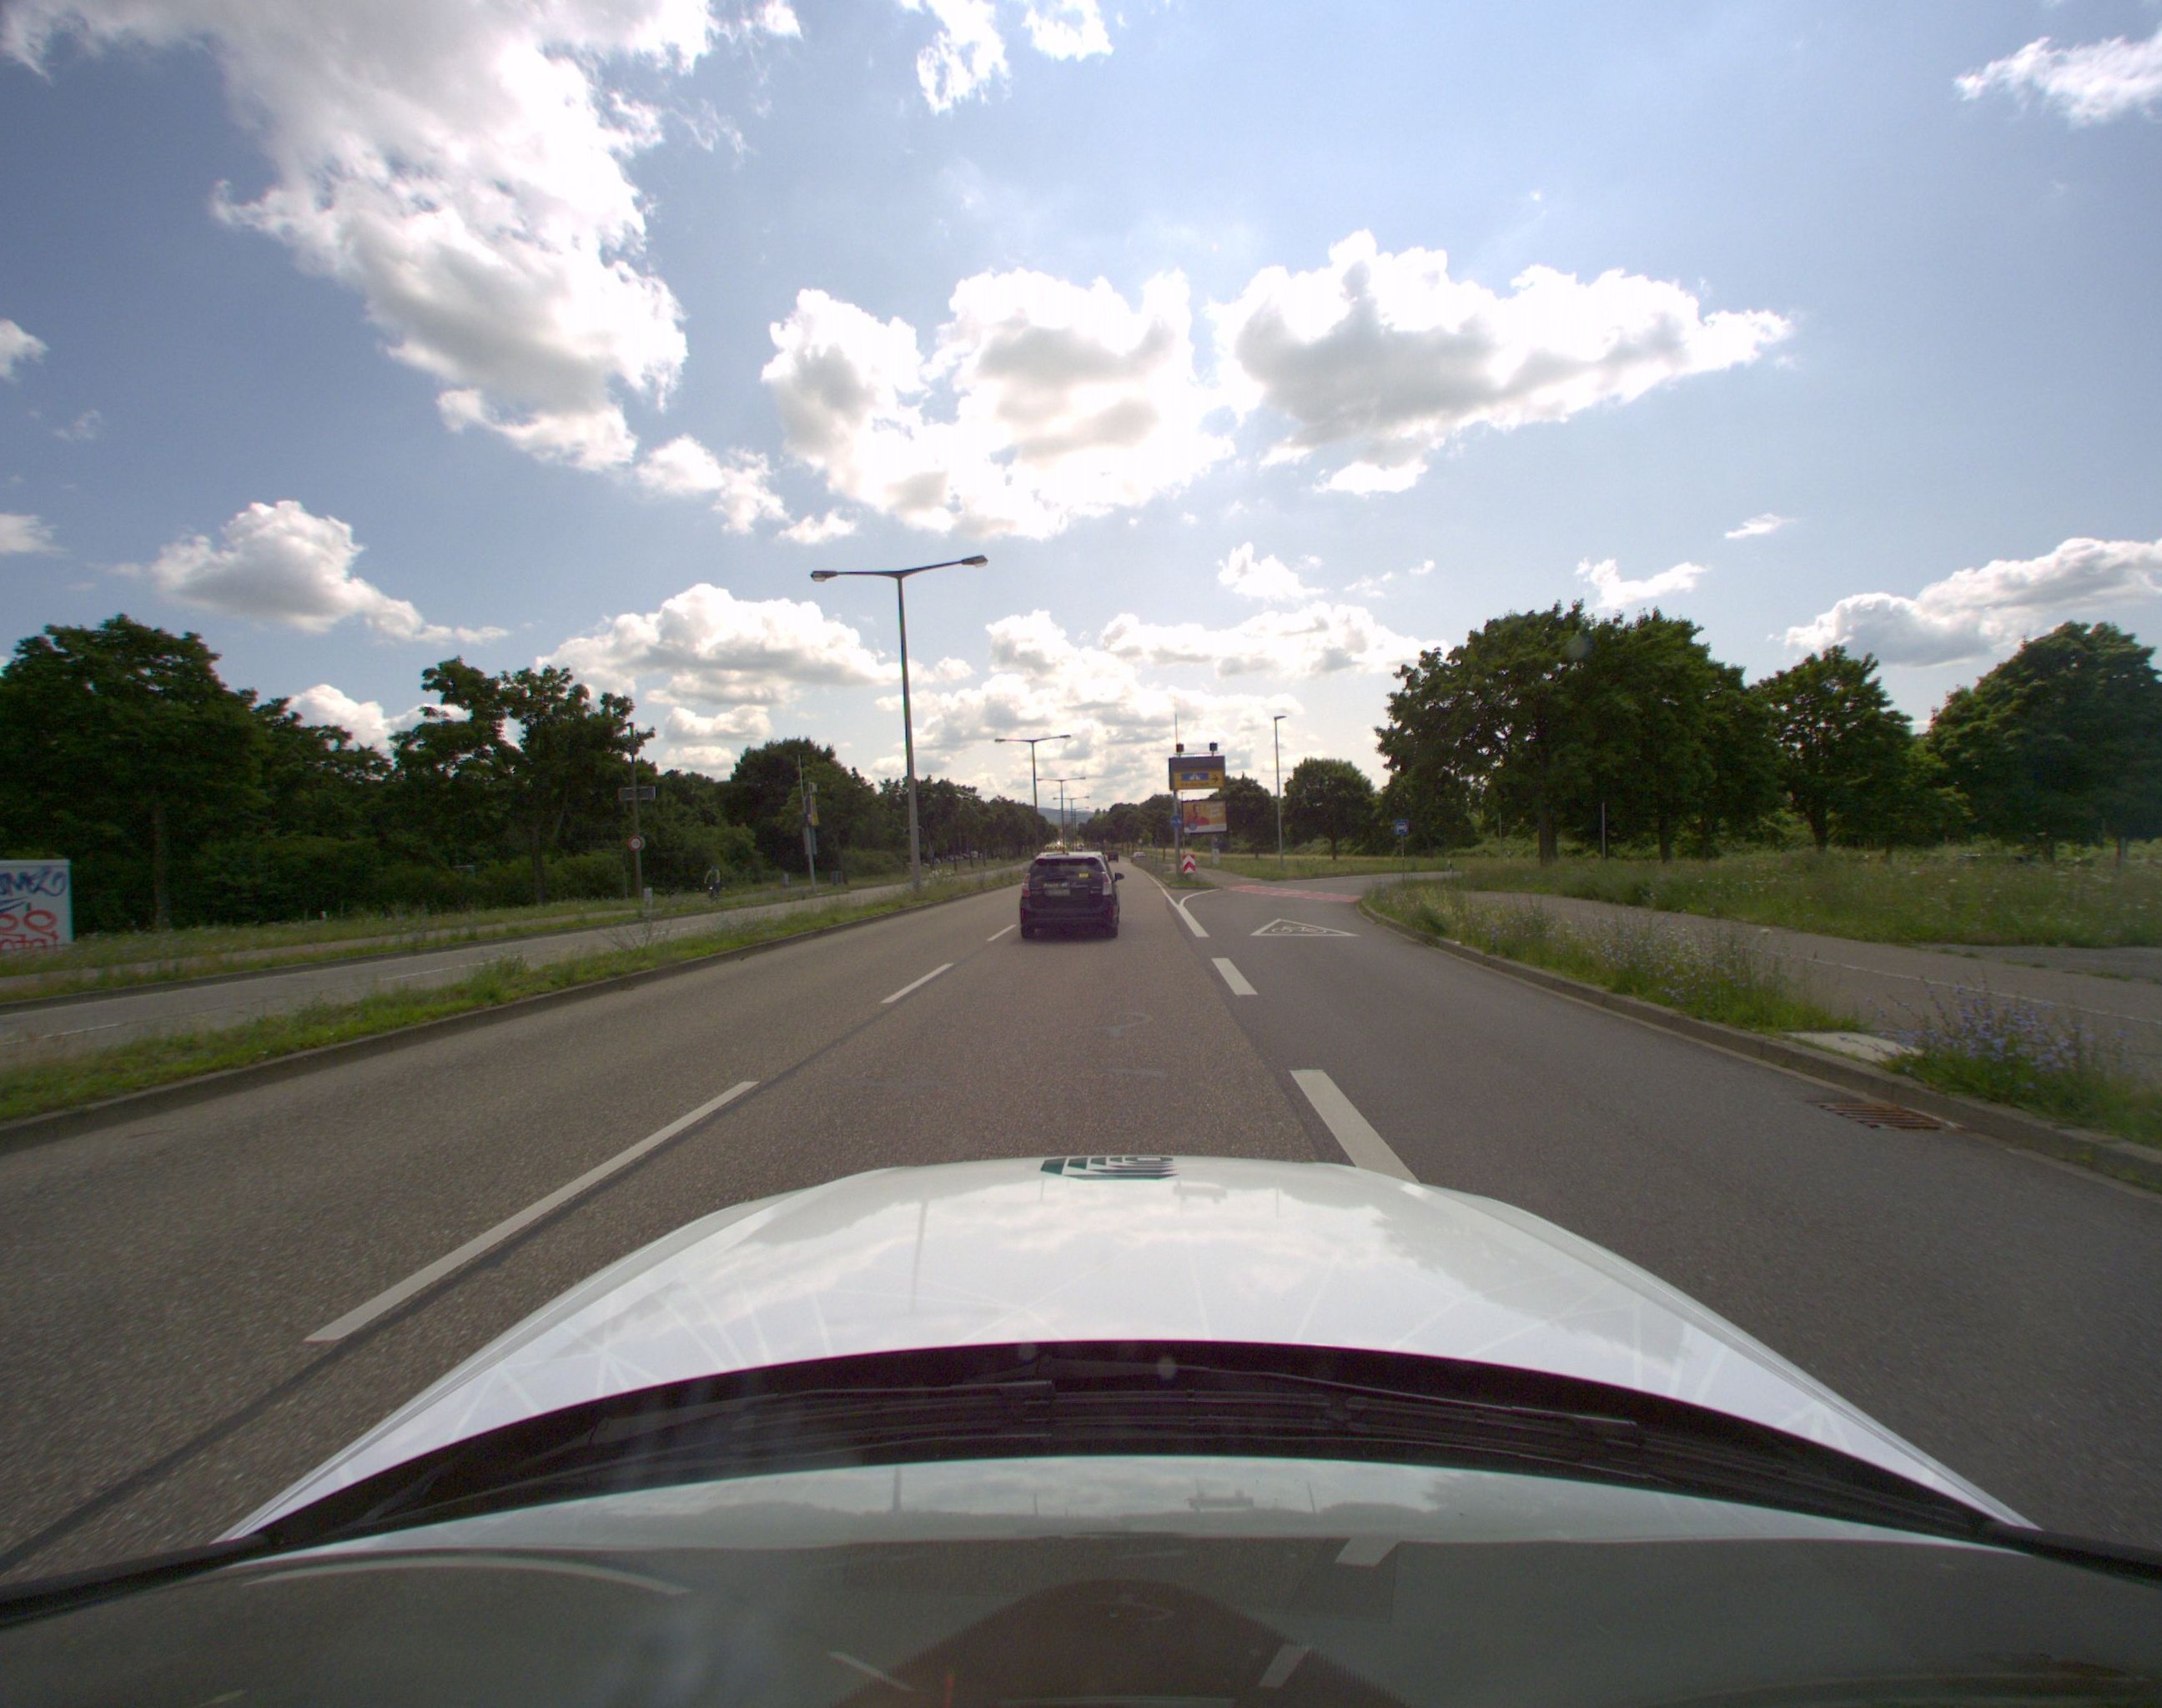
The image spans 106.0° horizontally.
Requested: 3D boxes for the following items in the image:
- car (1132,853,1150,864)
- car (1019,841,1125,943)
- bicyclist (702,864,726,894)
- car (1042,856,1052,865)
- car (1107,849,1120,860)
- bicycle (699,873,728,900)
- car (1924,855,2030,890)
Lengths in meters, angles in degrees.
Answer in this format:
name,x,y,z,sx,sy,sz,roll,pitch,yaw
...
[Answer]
name,x,y,z,sx,sy,sz,roll,pitch,yaw
car,9.351,0.698,127.339,1.991,1.508,3.992,-1,1,-6
car,-0.156,0.613,15.851,1.774,1.683,4.000,-1,1,0
bicyclist,-16.470,1.109,36.570,0.519,1.272,1.107,-1,1,0
car,-7.047,1.365,169.597,1.870,1.790,4.728,-4,0,1
car,5.474,0.058,137.592,1.987,1.661,4.000,-1,1,0
bicycle,-16.452,1.449,36.477,0.430,1.068,1.908,-1,1,0
car,55.133,1.111,50.205,3.949,2.013,2.013,0,1,29
